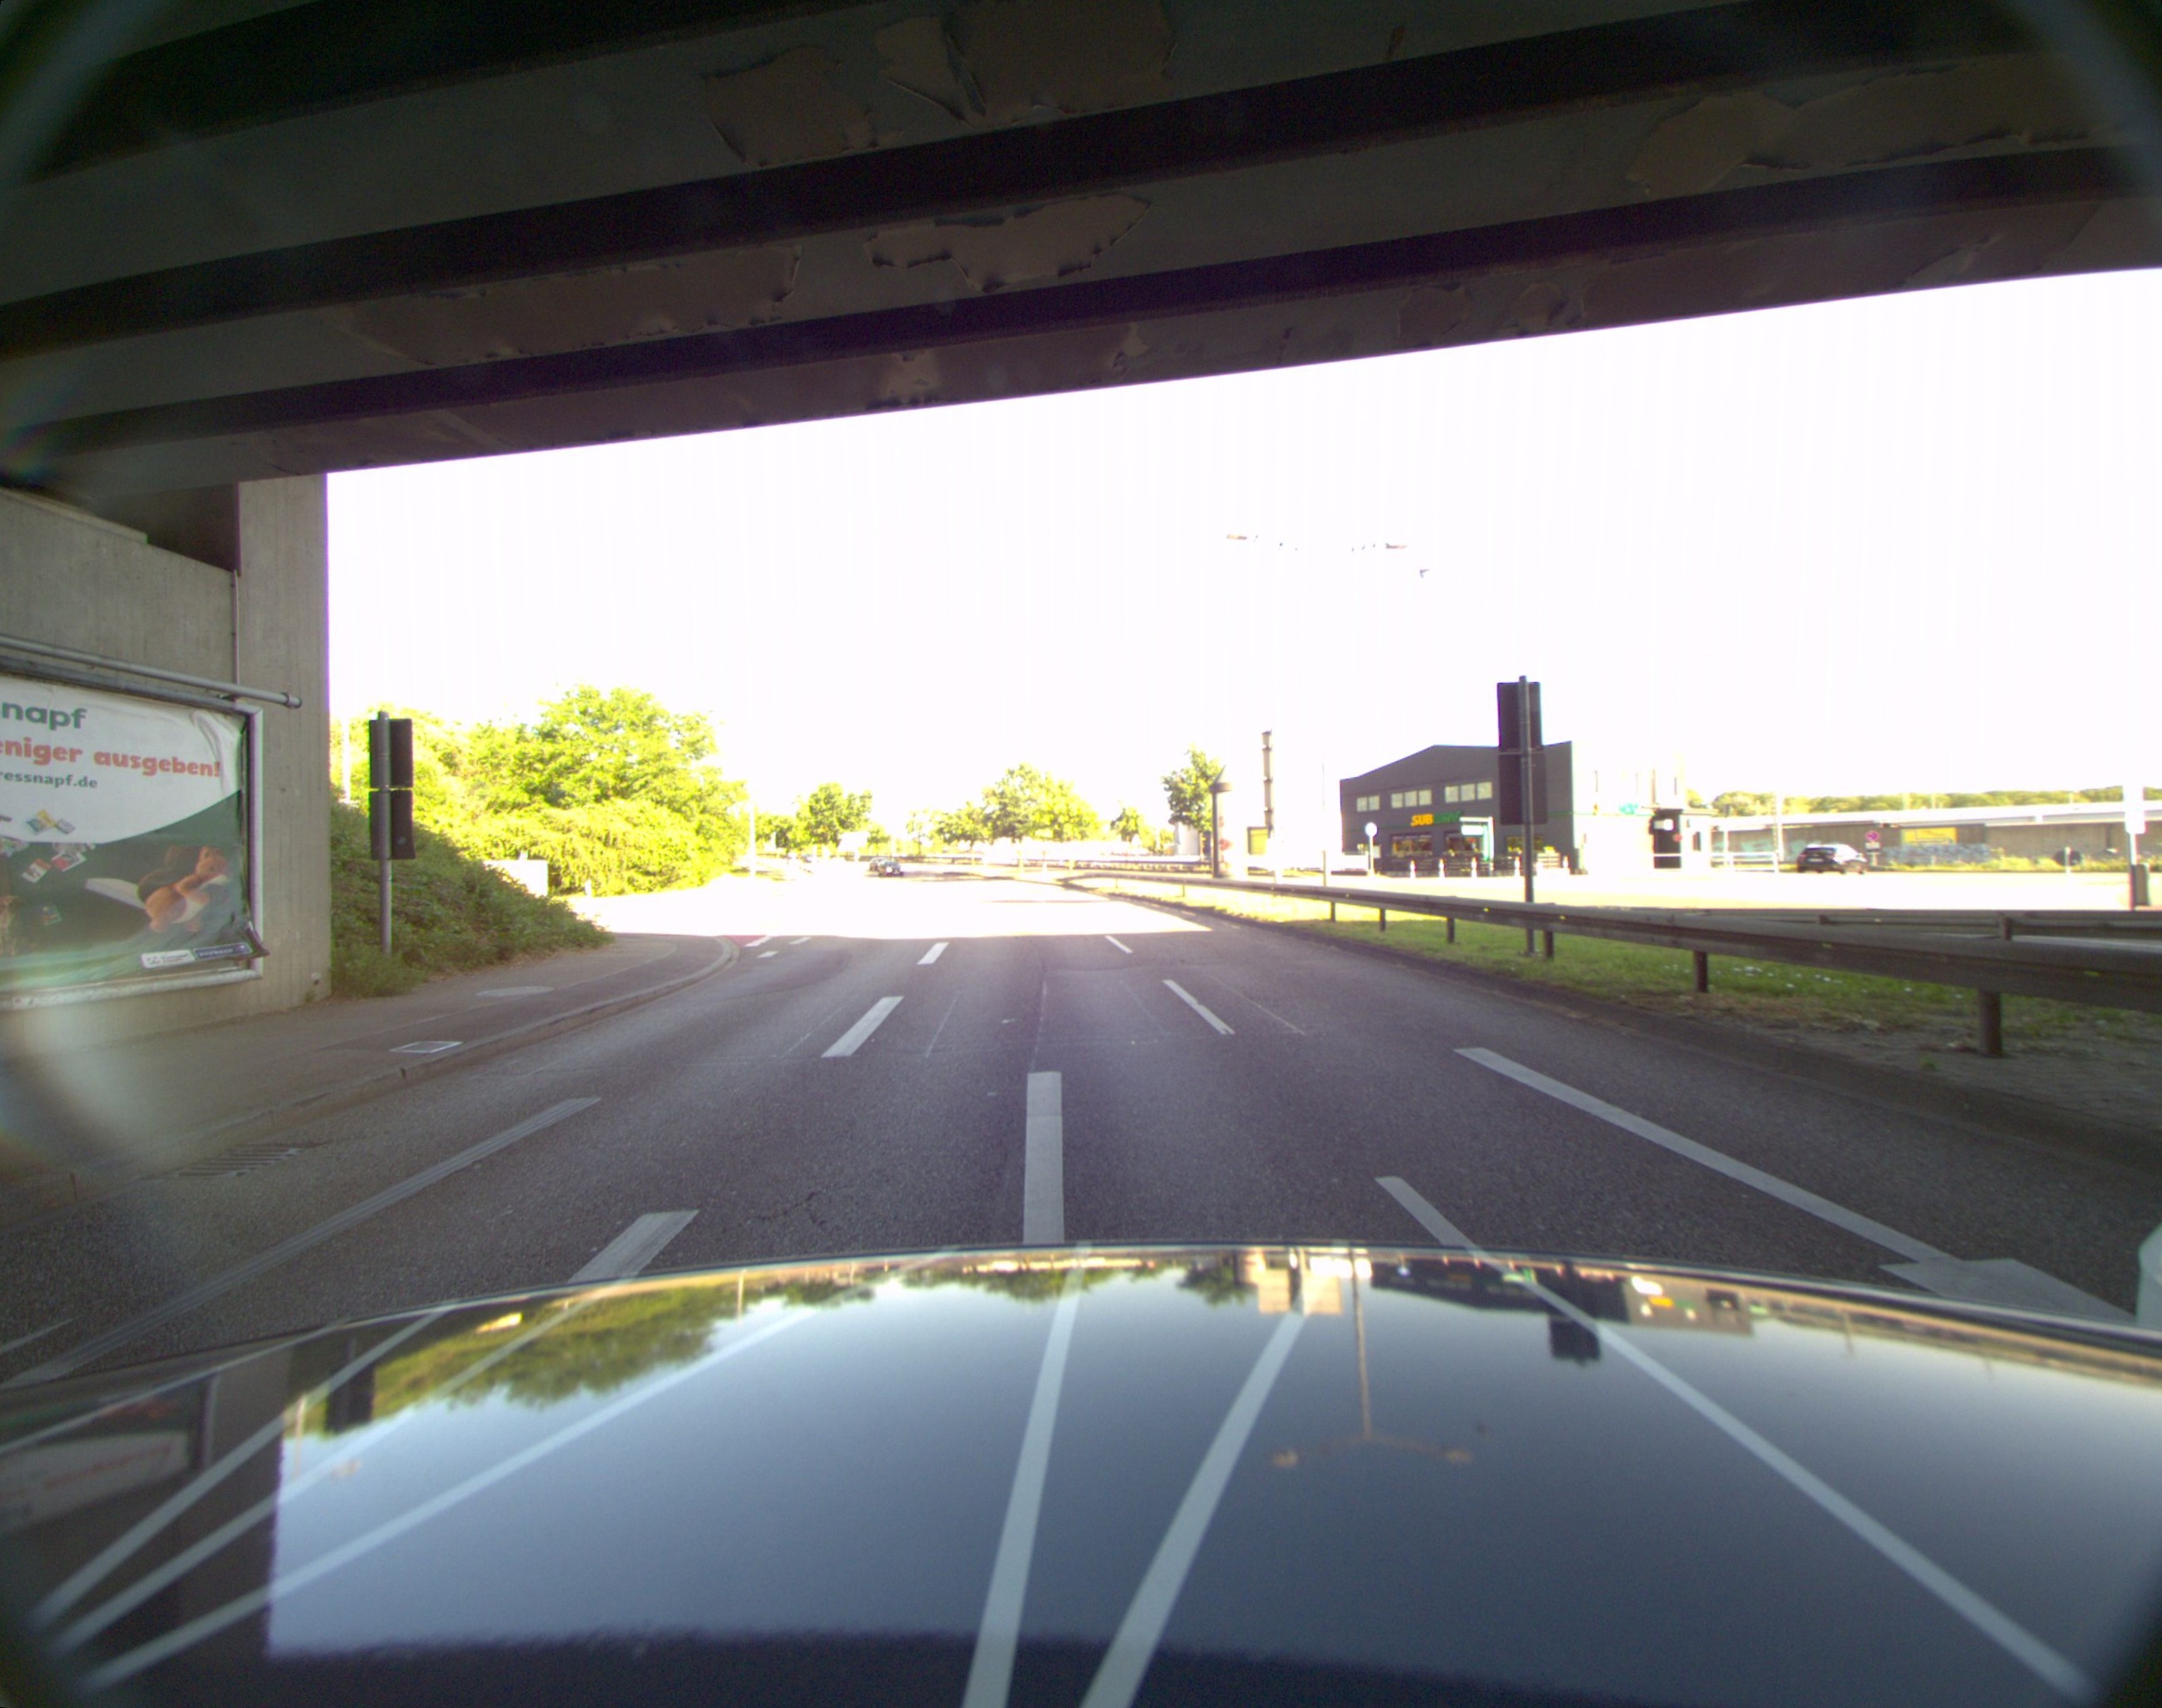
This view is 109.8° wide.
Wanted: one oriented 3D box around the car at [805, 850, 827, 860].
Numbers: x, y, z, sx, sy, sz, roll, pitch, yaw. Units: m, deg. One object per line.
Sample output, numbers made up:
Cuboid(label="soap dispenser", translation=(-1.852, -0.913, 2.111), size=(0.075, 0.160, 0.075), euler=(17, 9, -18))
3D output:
Cuboid(label="car", translation=(-39.387, 0.131, 113.062), size=(1.860, 1.471, 4.219), euler=(-2, 1, -37))

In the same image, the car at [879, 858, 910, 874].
Cuboid(label="car", translation=(-17.679, 1.117, 71.854), size=(1.741, 1.411, 4.310), euler=(-1, -2, -30))

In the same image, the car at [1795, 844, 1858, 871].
Cuboid(label="car", translation=(38.298, 0.185, 39.014), size=(4.191, 1.274, 1.825), euler=(1, 0, -39))

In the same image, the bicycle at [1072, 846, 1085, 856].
Cuboid(label="bicycle", translation=(-0.230, -0.301, 80.718), size=(0.594, 1.017, 1.746), euler=(-3, 1, -28))

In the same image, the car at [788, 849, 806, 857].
Cuboid(label="car", translation=(-49.313, -0.184, 131.790), size=(1.751, 1.274, 4.170), euler=(1, 0, -38))

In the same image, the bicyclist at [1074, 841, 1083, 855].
Cuboid(label="bicyclist", translation=(-0.281, -0.629, 80.730), size=(0.594, 1.419, 0.707), euler=(-3, 1, -28))
